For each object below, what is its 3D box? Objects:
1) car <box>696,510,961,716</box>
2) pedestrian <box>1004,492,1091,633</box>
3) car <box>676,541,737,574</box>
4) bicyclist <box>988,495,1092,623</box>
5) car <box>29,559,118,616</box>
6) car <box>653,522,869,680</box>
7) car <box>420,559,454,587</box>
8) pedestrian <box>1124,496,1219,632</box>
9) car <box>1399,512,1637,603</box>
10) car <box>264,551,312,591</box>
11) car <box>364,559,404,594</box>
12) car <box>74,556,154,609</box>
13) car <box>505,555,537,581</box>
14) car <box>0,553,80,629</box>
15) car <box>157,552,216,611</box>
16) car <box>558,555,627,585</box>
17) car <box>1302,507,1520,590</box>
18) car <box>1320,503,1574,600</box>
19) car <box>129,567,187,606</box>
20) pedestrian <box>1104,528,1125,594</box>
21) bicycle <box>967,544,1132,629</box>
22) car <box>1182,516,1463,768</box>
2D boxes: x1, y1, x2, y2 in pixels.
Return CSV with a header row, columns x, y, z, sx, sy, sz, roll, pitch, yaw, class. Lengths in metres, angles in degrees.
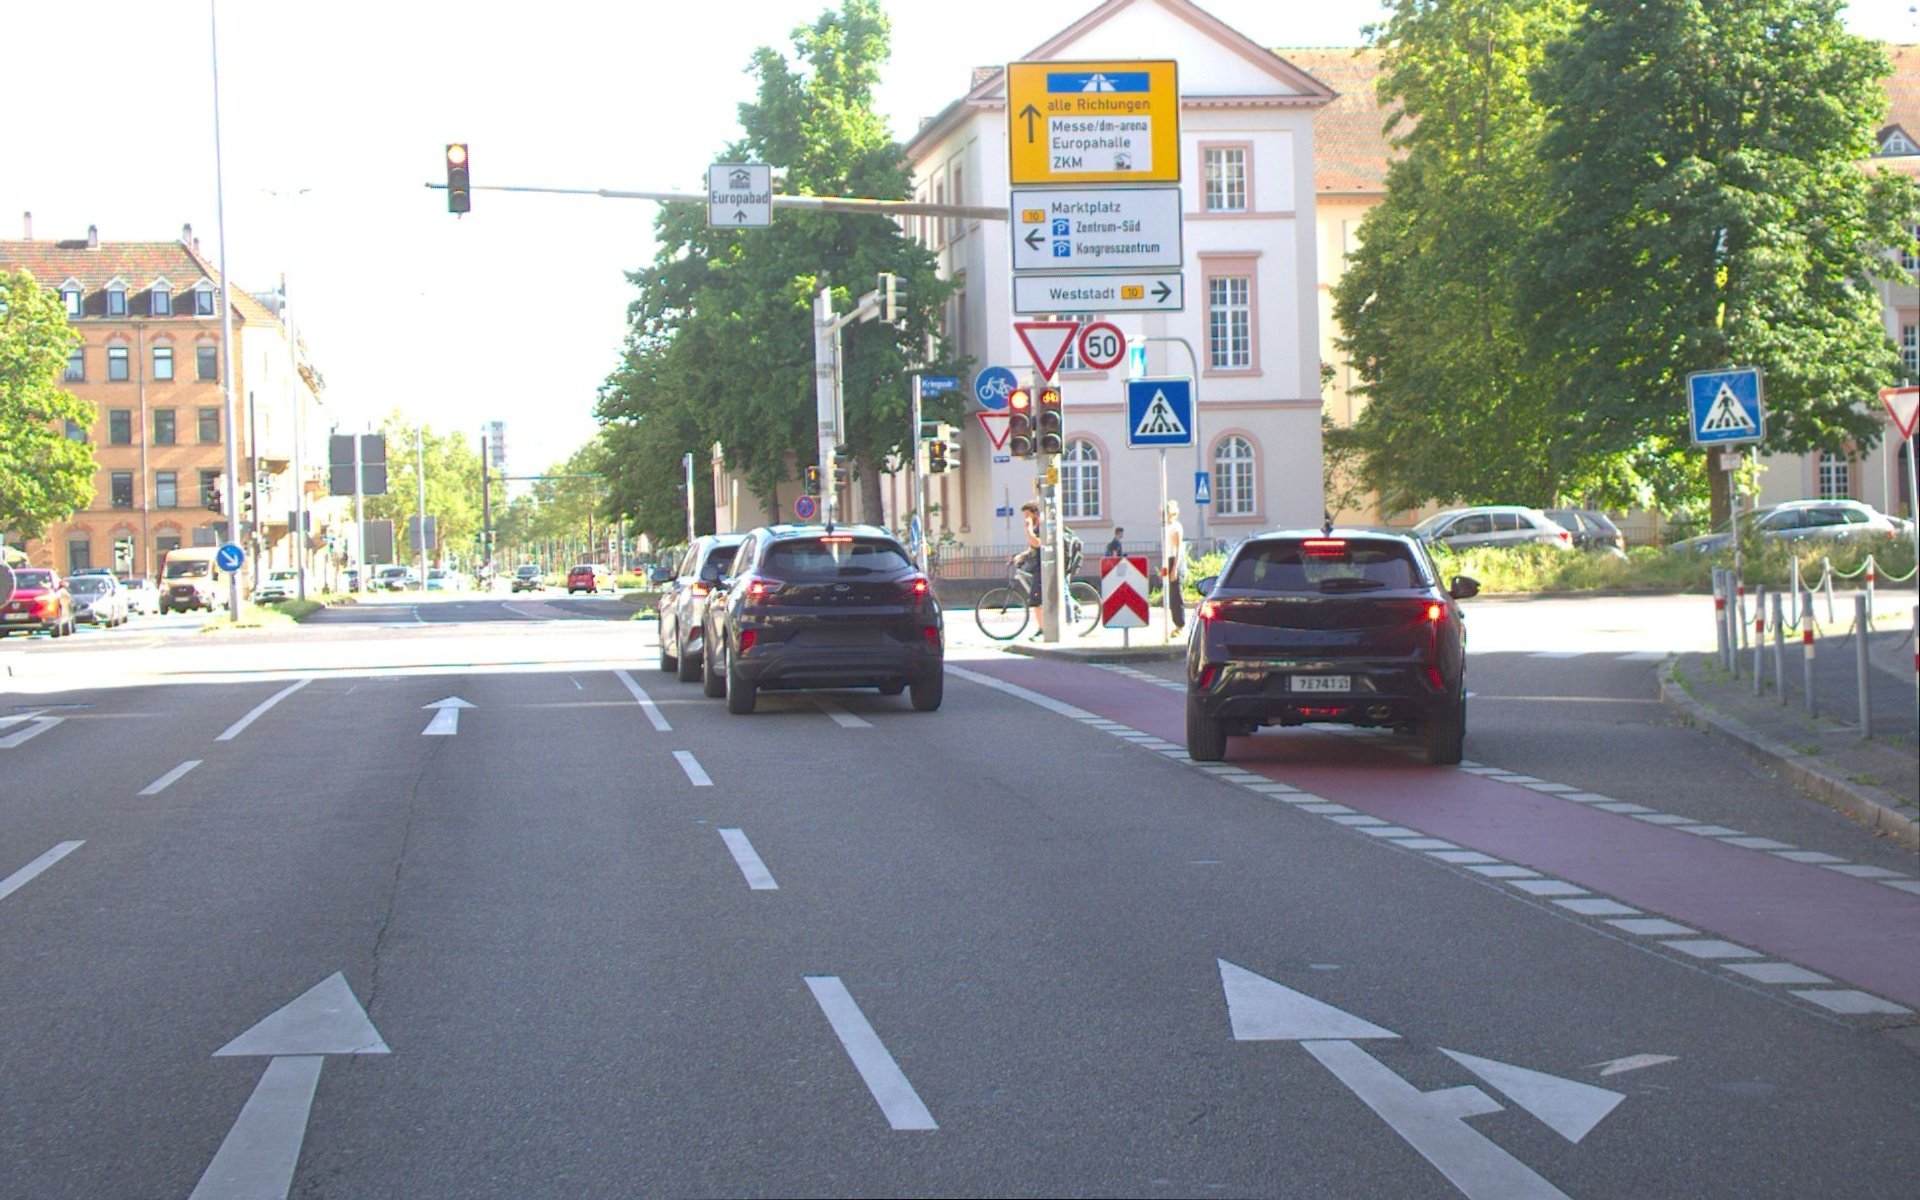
x,y,z,sx,sy,sz,roll,pitch,yaw,class
-1.185,0.059,29.181,1.829,1.573,3.840,-2,1,-8,car
1.066,-0.462,42.090,0.825,1.696,0.918,-1,1,-13,pedestrian
-14.168,-2.390,192.254,2.177,1.692,3.997,-1,1,16,car
1.037,-0.531,44.445,1.164,1.628,0.729,-1,1,-15,bicyclist
-24.019,-0.352,93.270,1.874,1.443,4.001,-2,1,-8,car
-2.068,-0.034,34.674,1.829,1.447,3.989,-2,1,-8,car
-29.003,-1.510,190.777,1.810,1.443,4.001,-2,1,-8,car
2.649,-0.462,43.081,1.040,1.654,0.784,-2,1,-4,pedestrian
10.748,-0.825,66.282,4.113,1.596,1.823,-2,1,-14,car
-29.392,-1.275,150.440,1.810,1.628,4.001,-2,1,-8,car
-28.515,-1.157,170.354,1.810,1.628,4.001,-2,1,-8,car
-25.085,-0.536,102.040,1.874,1.443,4.001,-2,1,-8,car
-26.453,-1.944,206.953,1.810,1.443,4.001,-2,1,-8,car
-20.936,-0.223,77.150,1.791,1.611,4.001,-2,1,-8,car
-29.425,-0.730,130.828,1.810,2.127,4.001,-2,1,-8,car
-18.961,-1.556,177.425,1.812,1.402,3.996,-1,1,22,car
9.482,-1.095,72.384,4.113,1.596,1.823,-2,1,-14,car
8.799,-0.887,62.209,4.113,1.596,1.823,-2,1,-14,car
-31.789,-0.542,136.303,1.874,1.443,4.001,-2,1,-8,car
3.799,-0.955,84.502,0.440,1.610,0.467,1,0,-2,pedestrian
1.157,-0.180,44.549,2.031,1.057,0.622,-1,1,-17,bicycle
2.444,0.237,23.273,1.746,1.568,3.557,0,1,6,car
